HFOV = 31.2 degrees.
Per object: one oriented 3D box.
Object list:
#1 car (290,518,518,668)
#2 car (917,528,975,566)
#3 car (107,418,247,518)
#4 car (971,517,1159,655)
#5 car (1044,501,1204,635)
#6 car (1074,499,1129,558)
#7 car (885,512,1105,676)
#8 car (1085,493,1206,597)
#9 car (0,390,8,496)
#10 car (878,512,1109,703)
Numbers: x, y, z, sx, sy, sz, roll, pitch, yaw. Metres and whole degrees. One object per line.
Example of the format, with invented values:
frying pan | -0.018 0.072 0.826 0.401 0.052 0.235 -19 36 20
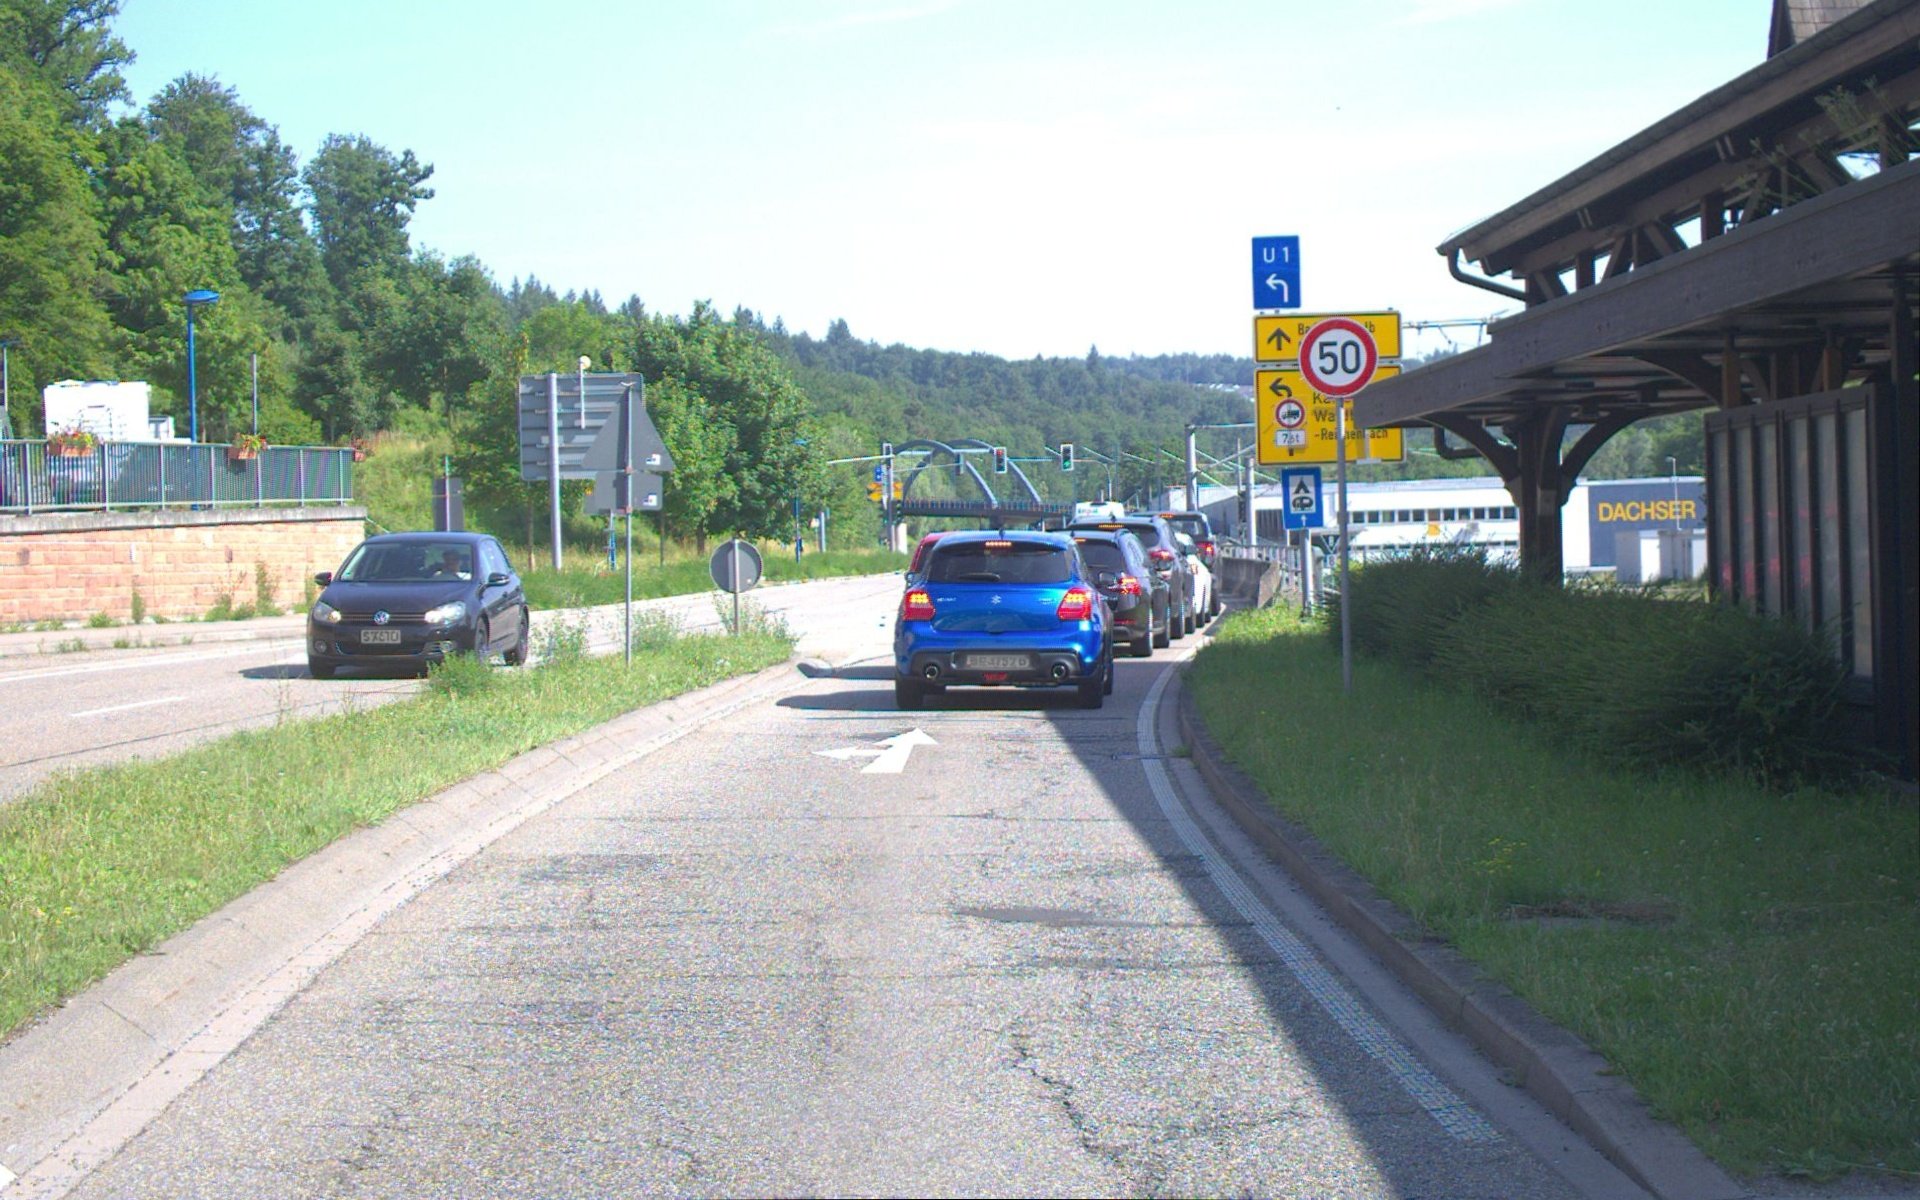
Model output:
car | -5.740 -0.117 35.912 1.745 1.457 4.044 -1 1 -1
car | -0.538 -2.081 134.648 1.792 1.465 4.715 0 1 6
car | -15.794 -2.676 69.571 2.020 1.913 4.732 1 2 -4
car | 1.305 -0.211 40.717 1.994 1.526 4.601 -1 1 4
car | 2.282 -0.466 46.750 1.994 1.681 4.496 2 1 4
car | 5.302 -2.672 128.664 1.994 2.137 4.720 1 1 3
car | 0.423 -0.097 35.496 1.994 1.566 4.000 1 1 4
car | 3.314 -0.988 60.727 1.994 1.730 4.000 2 1 4
car | -23.771 -3.770 81.746 2.092 2.435 5.787 1 2 -16
car | 0.339 0.015 29.819 1.868 1.543 4.000 0 1 2
